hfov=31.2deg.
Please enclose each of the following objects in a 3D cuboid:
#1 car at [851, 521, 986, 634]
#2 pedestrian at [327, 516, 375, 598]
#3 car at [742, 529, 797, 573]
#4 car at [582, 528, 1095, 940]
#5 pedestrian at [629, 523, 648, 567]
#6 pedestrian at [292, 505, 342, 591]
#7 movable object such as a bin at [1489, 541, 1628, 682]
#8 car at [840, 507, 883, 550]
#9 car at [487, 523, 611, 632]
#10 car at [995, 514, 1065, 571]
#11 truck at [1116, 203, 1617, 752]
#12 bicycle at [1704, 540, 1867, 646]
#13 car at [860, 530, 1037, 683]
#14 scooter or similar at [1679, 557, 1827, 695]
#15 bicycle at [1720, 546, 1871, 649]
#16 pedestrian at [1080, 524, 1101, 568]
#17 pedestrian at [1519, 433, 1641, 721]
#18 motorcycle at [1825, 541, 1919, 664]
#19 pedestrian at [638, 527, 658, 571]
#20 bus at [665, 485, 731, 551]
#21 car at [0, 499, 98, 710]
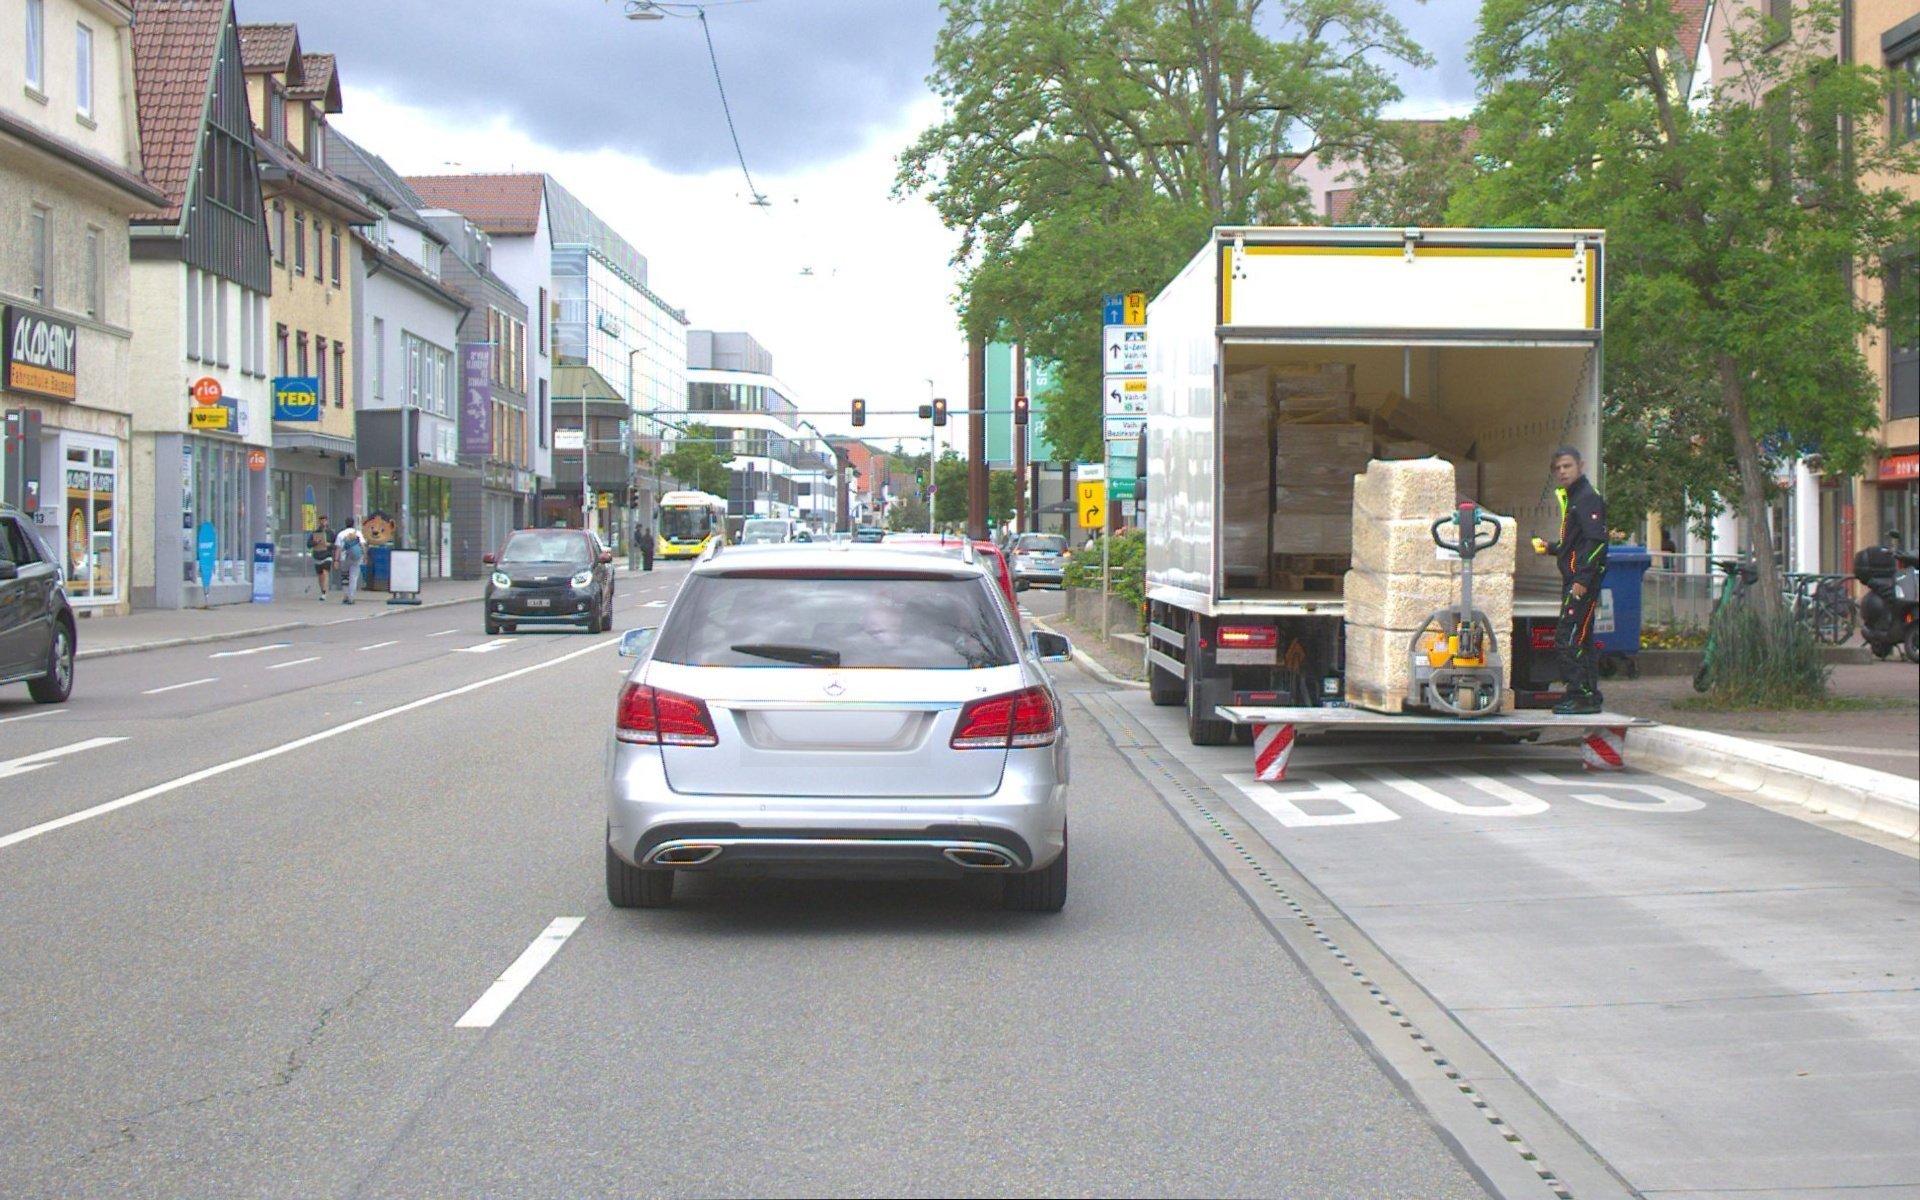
[{"bbox_3d":[-0.619,-0.375,53.032,1.993,1.678,4.000,0,1,0],"label":"car"},{"bbox_3d":[-12.341,-0.873,69.687,0.816,1.629,0.980,2,1,-6],"label":"pedestrian"},{"bbox_3d":[-6.436,-1.669,116.390,1.617,1.423,3.923,0,1,0],"label":"car"},{"bbox_3d":[-0.523,0.459,14.667,1.874,1.501,4.001,1,1,-2],"label":"car"},{"bbox_3d":[-12.104,-2.078,129.517,0.613,1.629,0.588,3,1,-2],"label":"pedestrian"},{"bbox_3d":[-13.483,-1.101,72.072,0.867,1.740,0.806,3,1,-5],"label":"pedestrian"},{"bbox_3d":[5.815,0.101,33.470,1.143,1.335,1.376,0,1,2],"label":"movable object such as a bin"},{"bbox_3d":[-4.685,-3.421,164.007,1.993,2.007,4.000,0,1,-1],"label":"car"},{"bbox_3d":[-5.995,-0.357,50.360,1.570,1.535,2.961,-1,1,-3],"label":"car"},{"bbox_3d":[2.083,-1.740,103.048,1.993,1.678,4.000,0,1,0],"label":"car"},{"bbox_3d":[2.852,-0.904,27.165,2.688,3.549,9.767,0,1,-1],"label":"truck"},{"bbox_3d":[10.375,-0.093,43.249,1.816,1.322,0.843,0,1,-4],"label":"bicycle"},{"bbox_3d":[-0.128,0.036,36.182,1.754,1.515,4.000,0,1,0],"label":"car"},{"bbox_3d":[6.983,0.225,30.288,1.175,1.192,0.460,0,1,-9],"label":"scooter or similar"},{"bbox_3d":[10.293,-0.039,42.354,1.674,1.254,0.670,0,1,-4],"label":"bicycle"},{"bbox_3d":[4.871,-2.017,128.294,0.613,1.629,0.588,3,1,-9],"label":"pedestrian"},{"bbox_3d":[3.872,-0.143,21.483,0.613,1.774,0.588,0,0,-4],"label":"pedestrian"},{"bbox_3d":[9.959,0.011,36.773,0.736,1.266,2.108,0,1,-4],"label":"motorcycle"},{"bbox_3d":[-11.681,-1.918,128.693,0.613,1.629,0.588,3,1,-2],"label":"pedestrian"},{"bbox_3d":[-12.773,-3.993,168.048,2.775,3.154,5.933,0,1,0],"label":"bus"},{"bbox_3d":[-8.889,0.054,28.708,2.069,1.732,4.693,-2,1,1],"label":"car"}]
